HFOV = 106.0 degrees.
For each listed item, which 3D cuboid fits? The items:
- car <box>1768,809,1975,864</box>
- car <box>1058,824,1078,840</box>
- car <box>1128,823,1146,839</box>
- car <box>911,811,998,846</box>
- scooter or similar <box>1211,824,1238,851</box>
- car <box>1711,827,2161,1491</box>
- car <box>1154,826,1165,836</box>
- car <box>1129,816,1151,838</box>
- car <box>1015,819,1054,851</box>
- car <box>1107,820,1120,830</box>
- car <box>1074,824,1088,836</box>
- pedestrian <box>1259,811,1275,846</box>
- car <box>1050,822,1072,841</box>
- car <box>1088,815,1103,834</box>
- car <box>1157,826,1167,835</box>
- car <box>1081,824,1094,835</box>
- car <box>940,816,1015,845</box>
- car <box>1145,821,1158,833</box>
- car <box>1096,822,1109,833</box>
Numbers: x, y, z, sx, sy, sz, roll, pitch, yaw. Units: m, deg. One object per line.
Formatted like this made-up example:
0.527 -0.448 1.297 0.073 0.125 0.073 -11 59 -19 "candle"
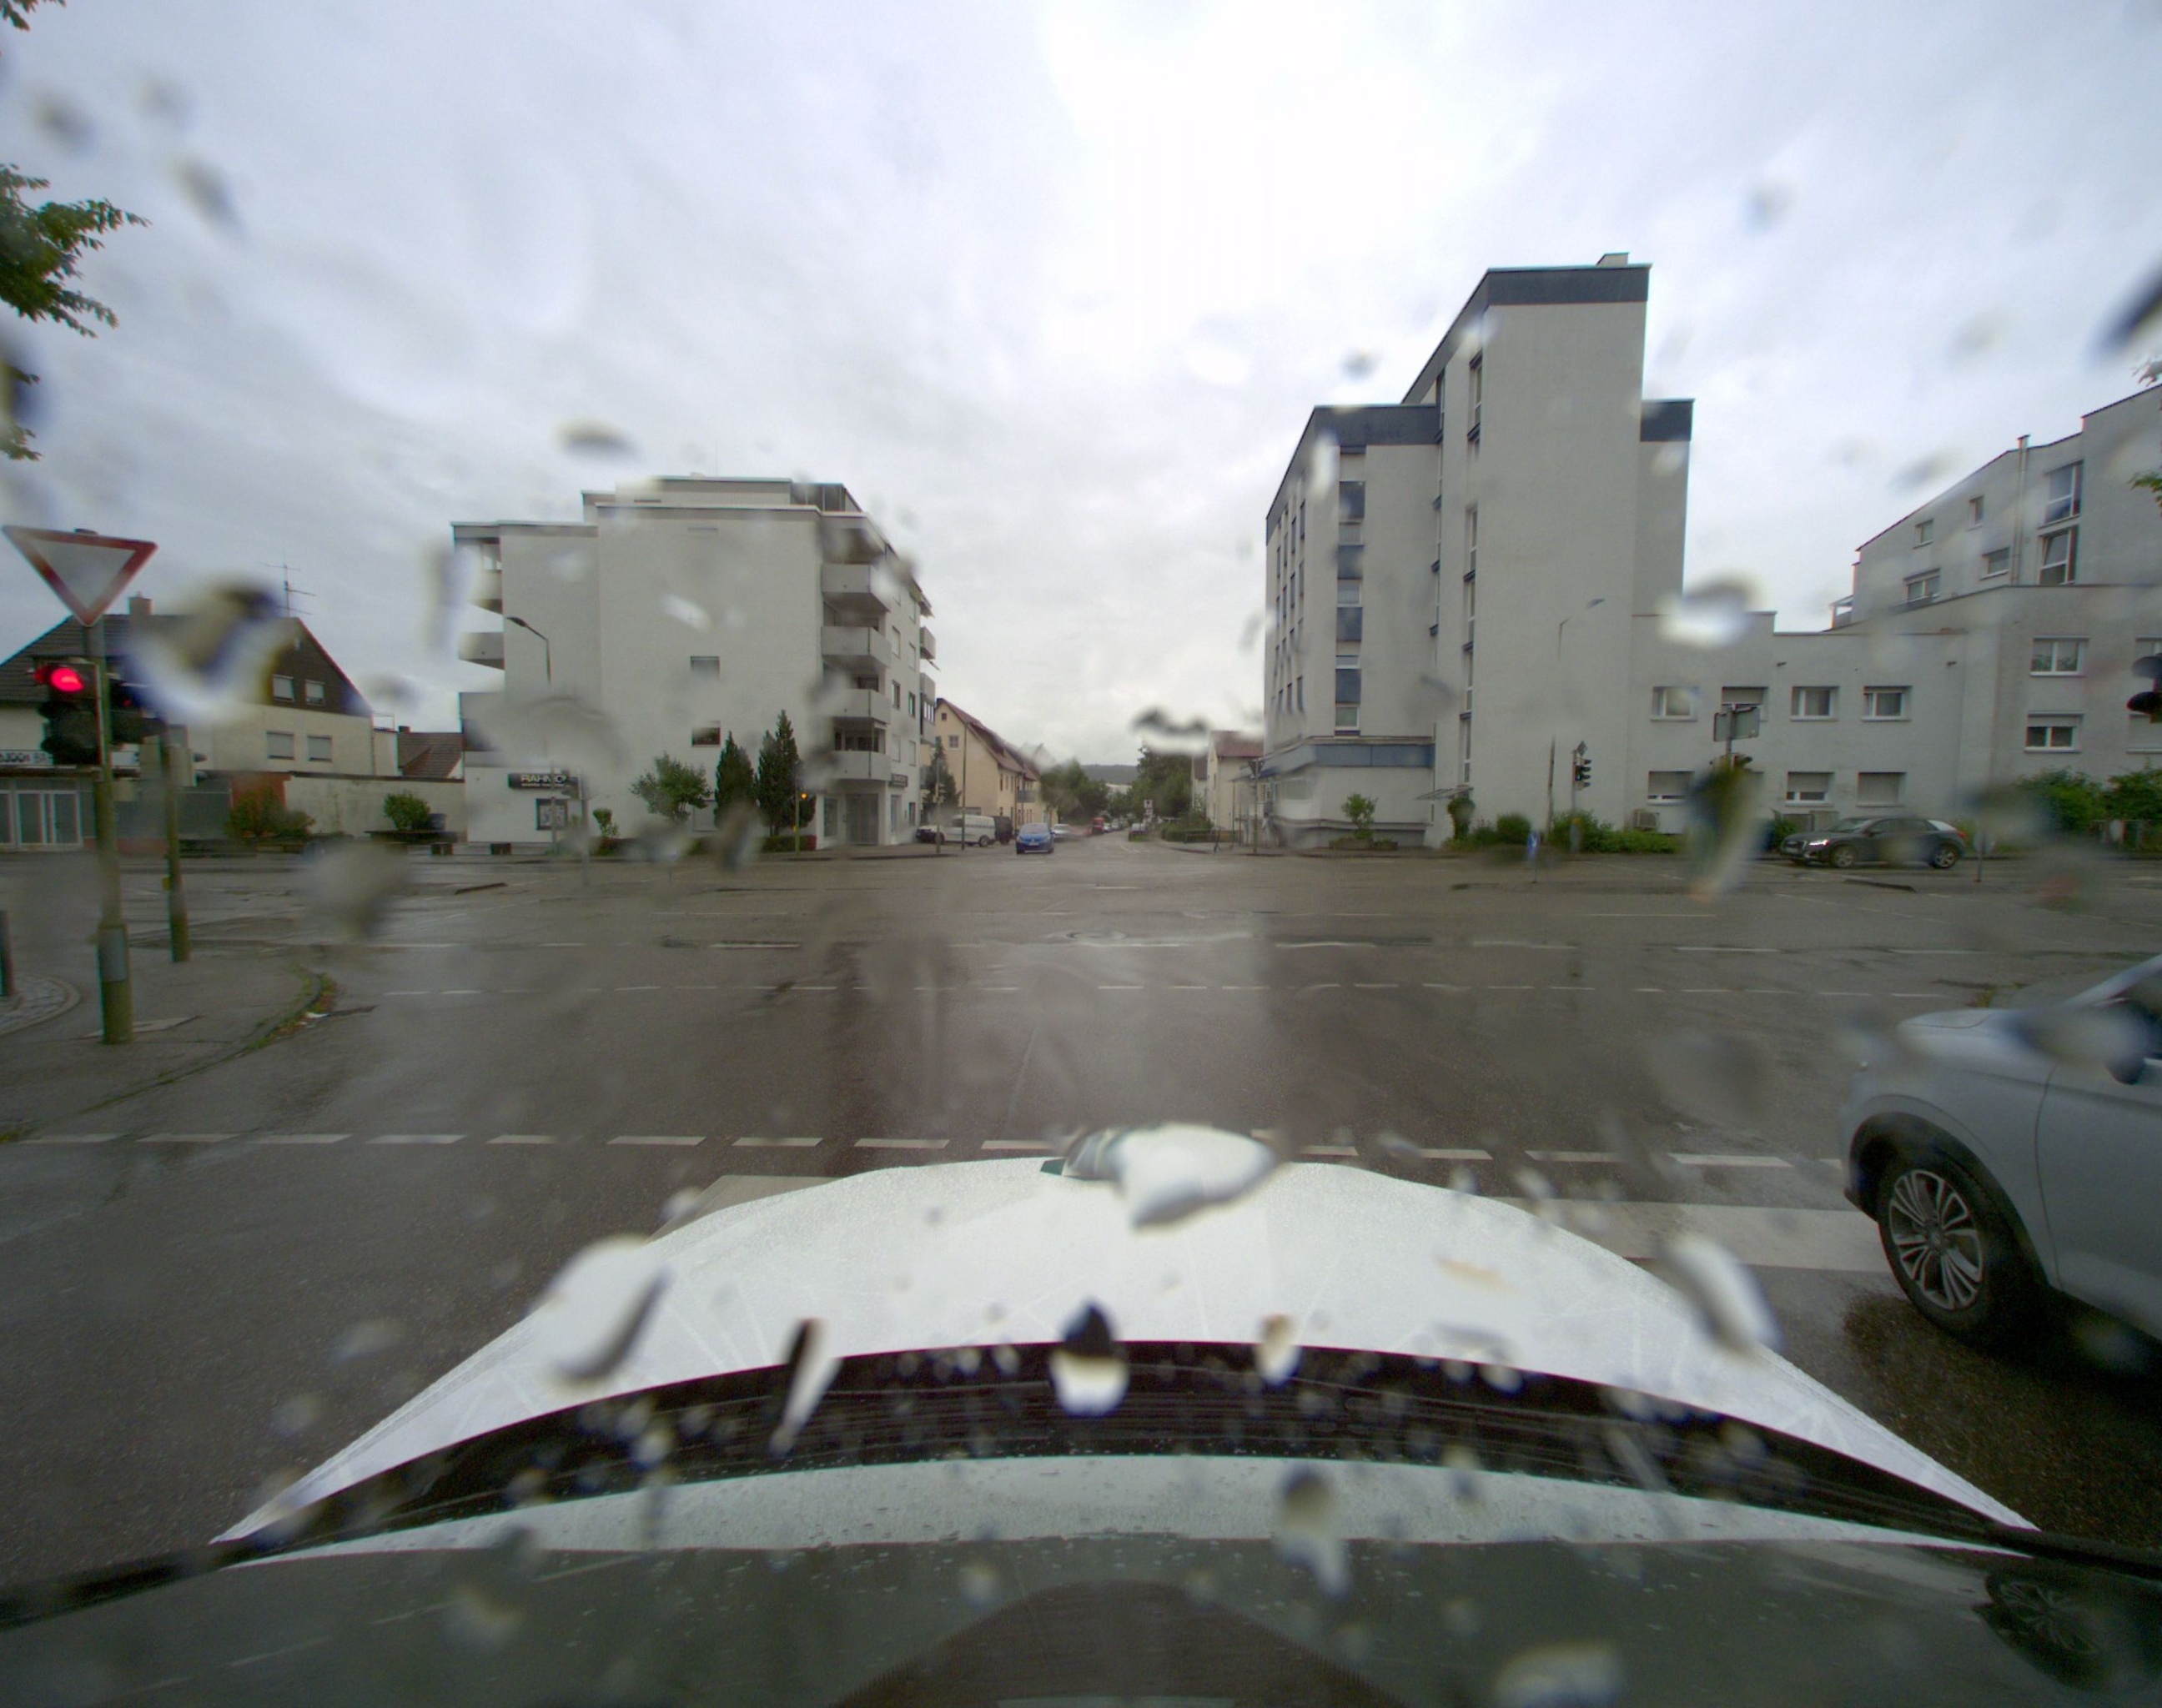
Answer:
23.253 -0.525 24.117 4.110 1.485 1.748 -1 4 10 "car"
-1.240 -2.121 79.609 1.760 1.518 4.197 -1 2 2 "car"
7.165 -2.956 103.516 1.983 2.013 4.009 -1 1 7 "car"
-7.416 -1.469 47.943 4.751 1.778 1.753 2 -1 -37 "car"
6.802 -0.774 38.557 1.058 1.227 0.799 0 -1 -8 "scooter or similar"
3.367 0.731 1.682 1.678 1.554 3.919 -1 1 10 "car"
15.673 -4.571 161.738 1.983 2.013 4.009 -1 1 7 "car"
5.919 -2.716 81.507 1.983 2.014 4.008 0 -1 7 "car"
-2.239 -0.902 40.053 1.762 1.445 3.998 0 -1 -1 "car"
6.231 -5.427 154.583 1.982 1.706 4.010 -1 -1 9 "car"
-0.027 -3.059 104.508 1.762 1.518 3.999 -1 2 -1 "car"
9.031 -1.238 39.535 0.652 1.652 0.646 0 -1 2 "pedestrian"
-1.640 -1.845 68.091 1.761 1.523 4.001 -1 2 0 "car"
2.279 -4.572 127.472 2.208 2.768 5.728 -1 1 2 "car"
16.910 -4.921 170.225 1.983 2.013 4.009 -1 1 7 "car"
0.879 -3.406 112.596 1.762 1.518 3.999 -1 2 -1 "car"
-6.949 -1.628 55.057 4.644 1.888 1.941 -2 2 -37 "car"
11.853 -4.533 137.052 1.983 2.013 4.009 -1 1 7 "car"
3.691 -4.537 138.954 1.983 1.684 4.008 0 -1 7 "car"
